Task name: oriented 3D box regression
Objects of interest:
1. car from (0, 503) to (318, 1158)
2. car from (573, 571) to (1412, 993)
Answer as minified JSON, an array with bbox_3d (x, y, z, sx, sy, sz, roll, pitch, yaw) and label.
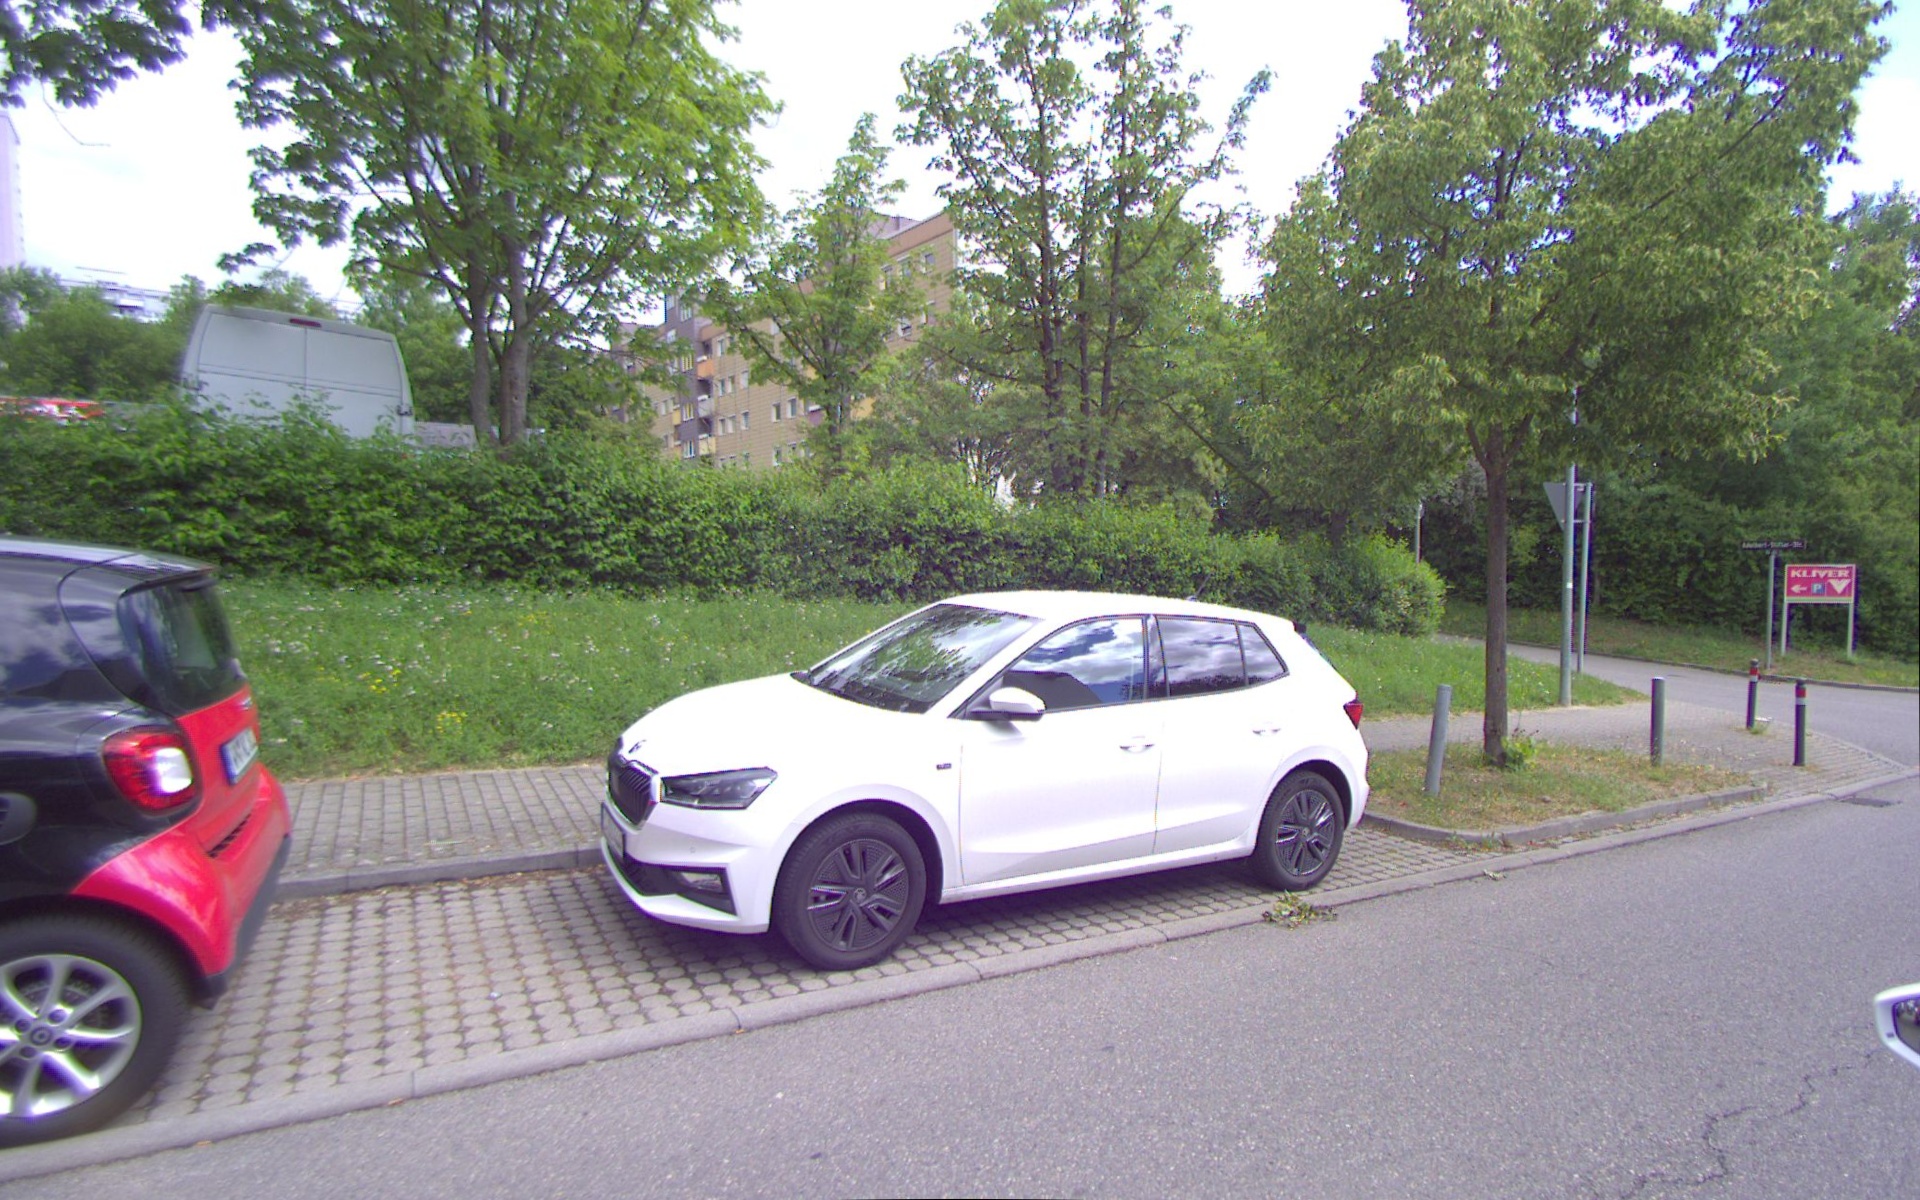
[{"bbox_3d":[-3.428,0.509,2.766,2.653,1.606,1.586,2,4,-29],"label":"car"},{"bbox_3d":[0.274,0.660,5.196,4.002,1.423,1.799,2,0,-31],"label":"car"}]
